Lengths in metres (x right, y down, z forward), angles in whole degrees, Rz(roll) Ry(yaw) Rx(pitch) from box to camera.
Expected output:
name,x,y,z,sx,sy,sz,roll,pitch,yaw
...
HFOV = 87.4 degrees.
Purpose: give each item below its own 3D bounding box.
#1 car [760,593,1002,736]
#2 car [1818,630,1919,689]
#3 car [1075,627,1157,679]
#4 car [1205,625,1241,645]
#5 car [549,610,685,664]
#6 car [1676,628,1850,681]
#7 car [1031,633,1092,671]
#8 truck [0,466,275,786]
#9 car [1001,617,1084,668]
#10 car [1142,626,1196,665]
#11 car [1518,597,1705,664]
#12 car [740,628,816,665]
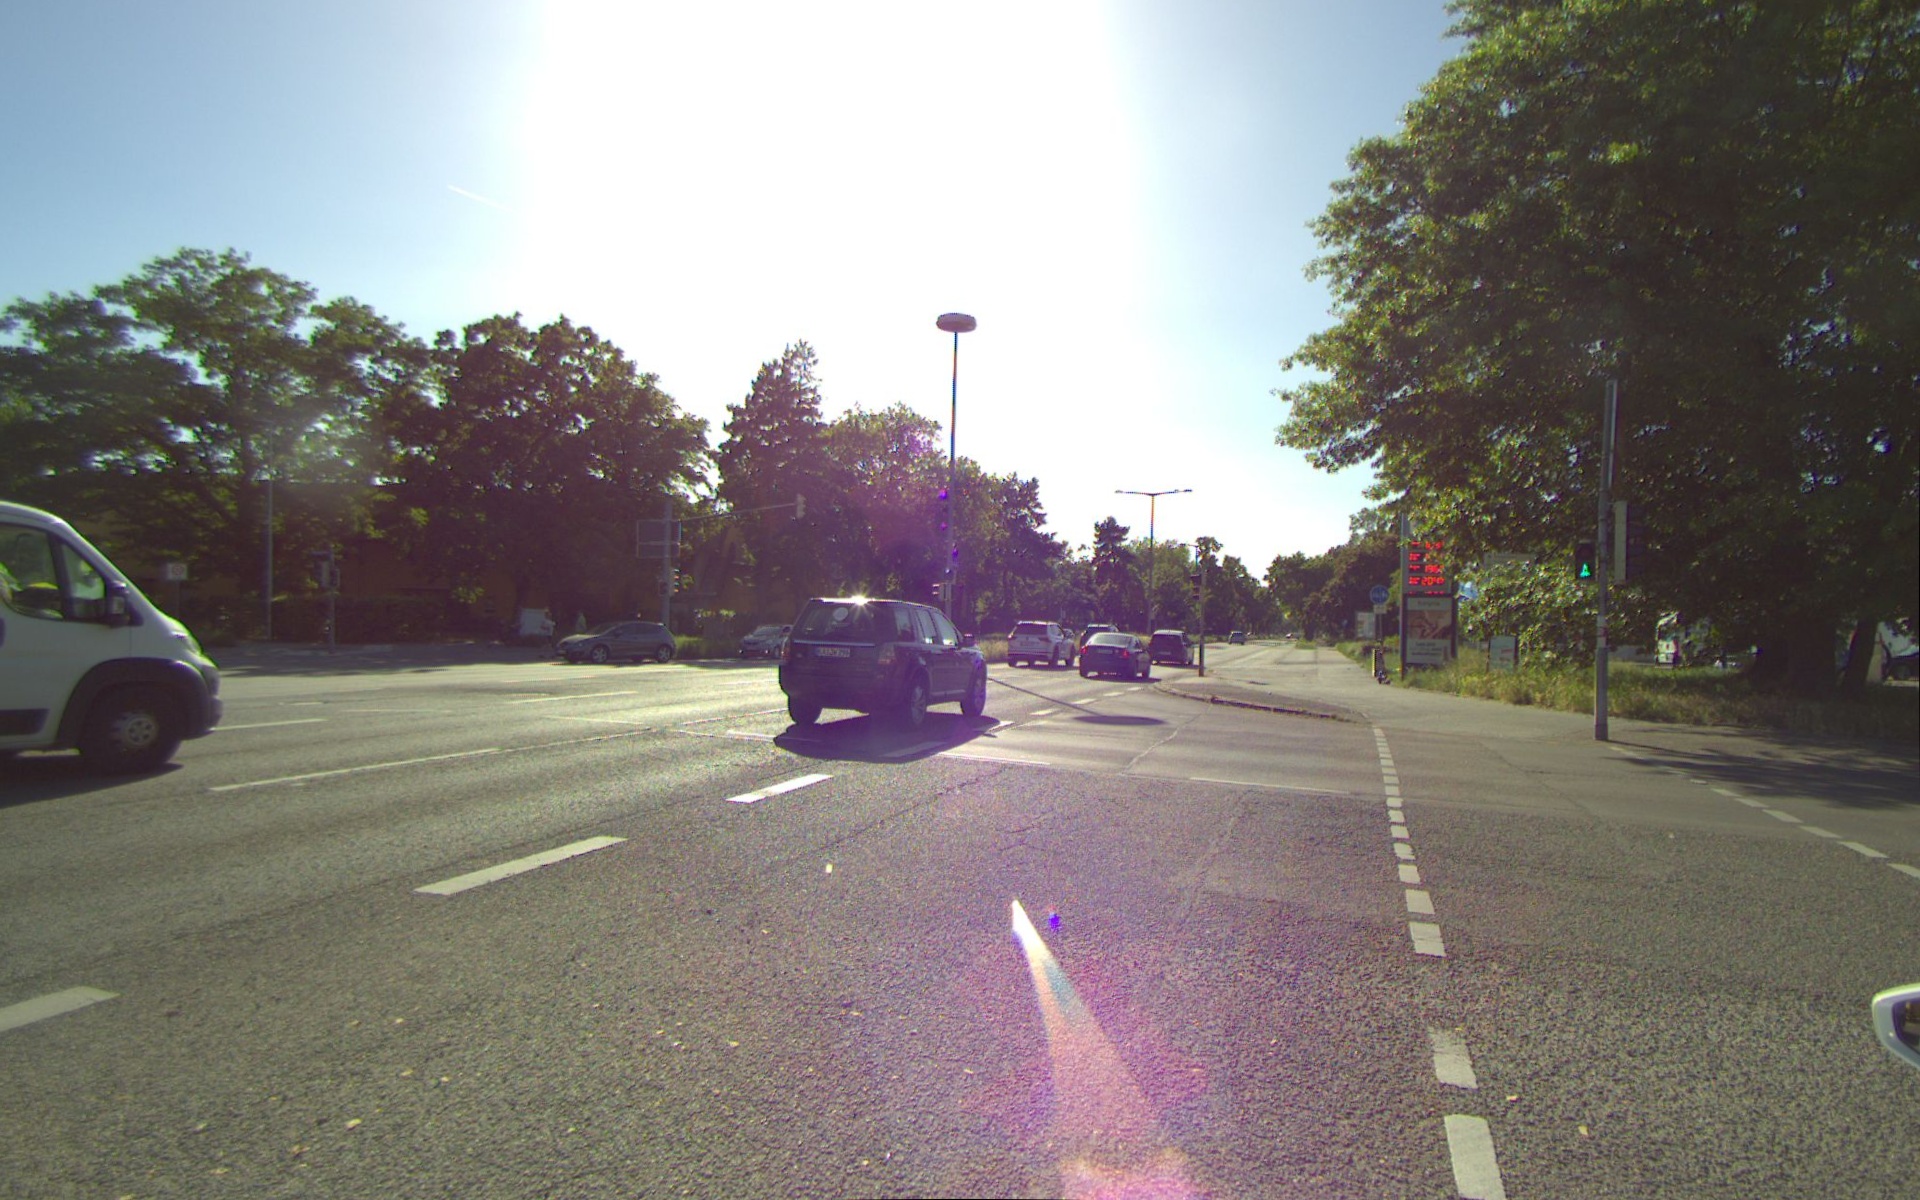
name,x,y,z,sx,sy,sz,roll,pitch,yaw
car,-0.952,0.873,14.721,1.792,1.706,4.392,2,-1,20
car,27.138,1.752,28.529,3.919,1.531,1.533,3,-1,10
car,5.099,1.674,32.362,1.806,1.413,4.366,3,-1,19
car,30.260,4.003,115.686,1.970,2.040,3.981,4,-1,-20
car,-11.747,1.302,34.662,1.779,1.674,4.090,3,-1,37
car,25.555,1.711,32.086,3.919,1.352,1.800,4,-1,9
car,5.018,2.524,49.189,1.879,1.674,4.365,3,-1,20
truck,-8.467,0.130,6.406,2.148,2.340,6.776,1,-2,19
car,3.198,1.605,38.042,1.911,1.674,4.365,3,-1,21
car,9.581,2.082,45.861,1.806,1.609,4.365,2,-1,20
car,24.532,1.141,38.101,5.543,2.126,2.000,3,-1,21
car,-7.746,1.972,43.030,1.522,1.451,3.598,1,-2,21
